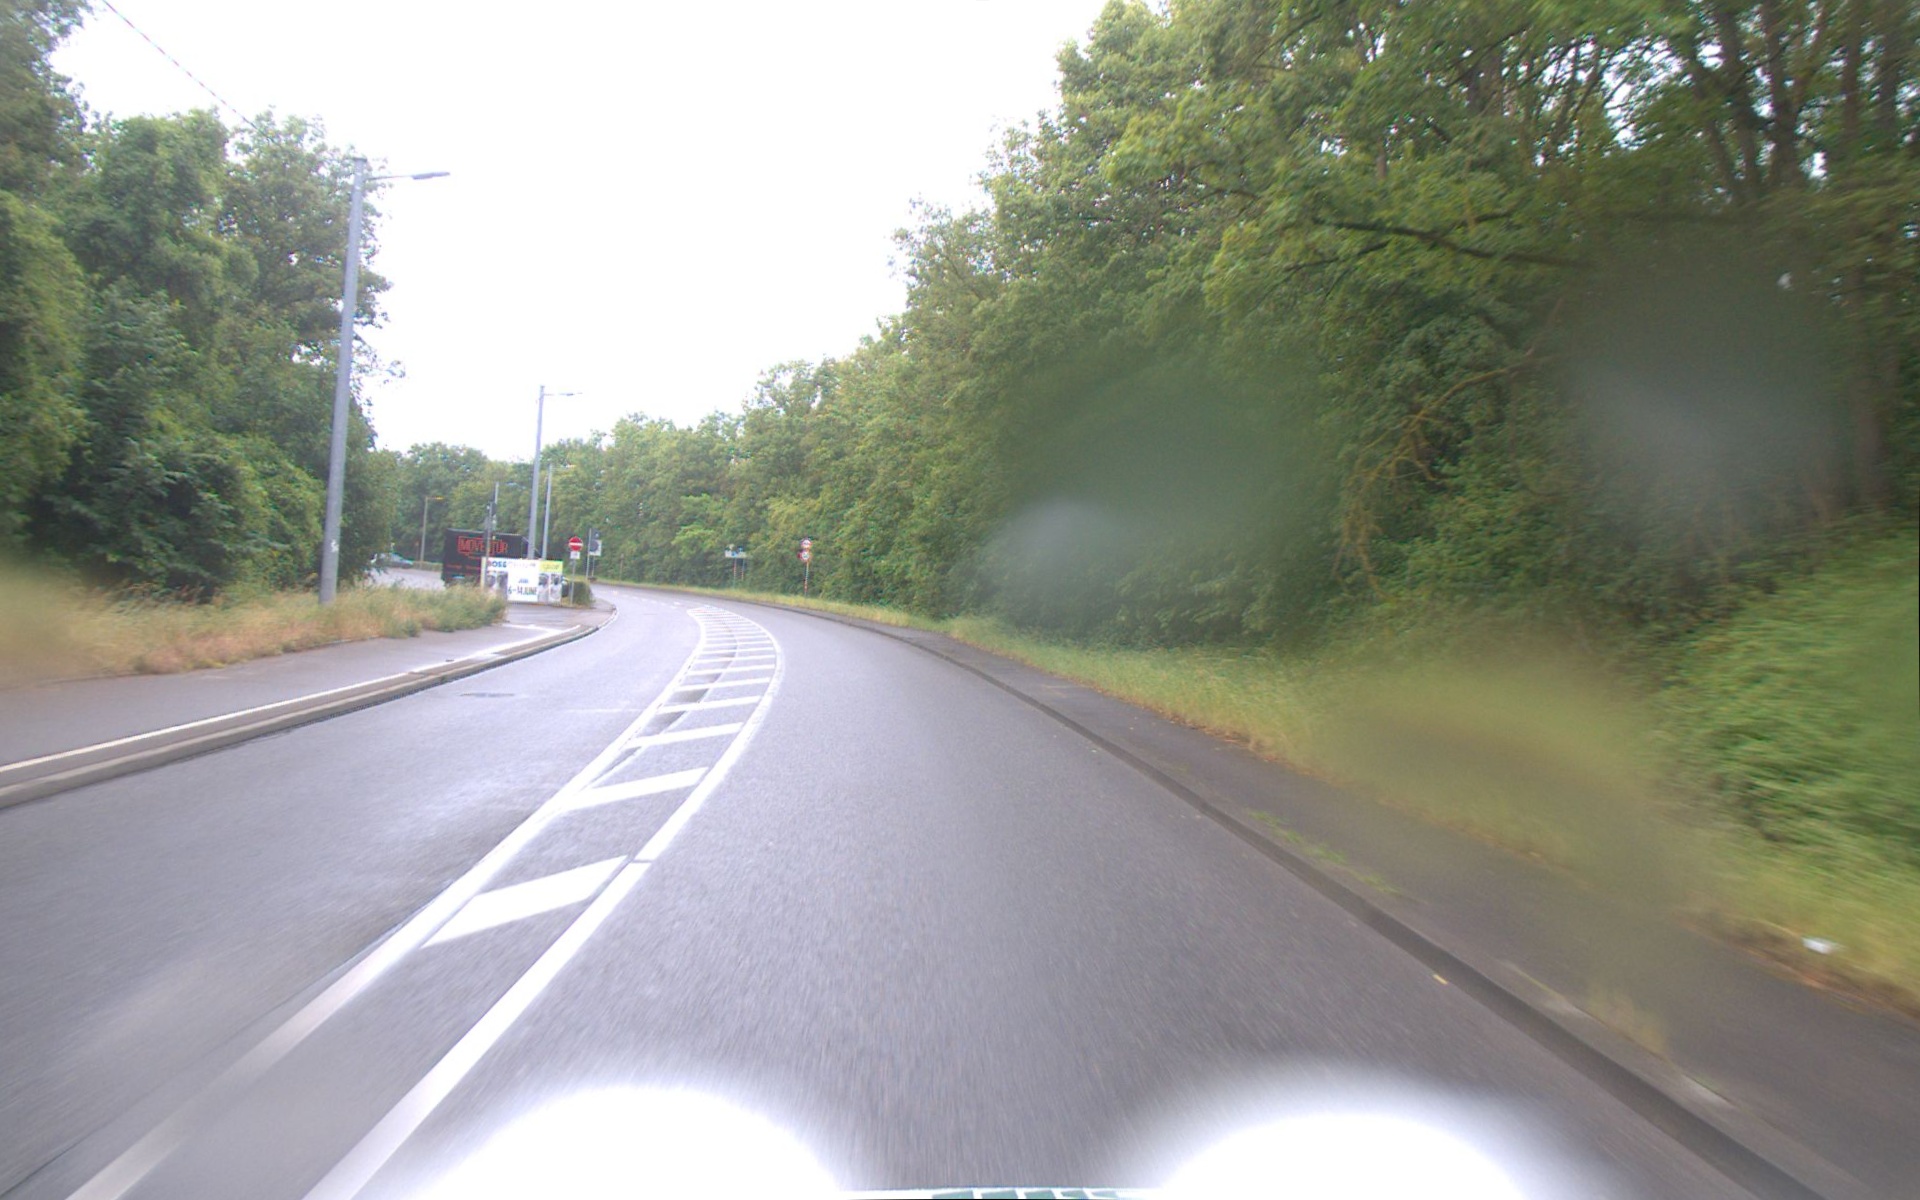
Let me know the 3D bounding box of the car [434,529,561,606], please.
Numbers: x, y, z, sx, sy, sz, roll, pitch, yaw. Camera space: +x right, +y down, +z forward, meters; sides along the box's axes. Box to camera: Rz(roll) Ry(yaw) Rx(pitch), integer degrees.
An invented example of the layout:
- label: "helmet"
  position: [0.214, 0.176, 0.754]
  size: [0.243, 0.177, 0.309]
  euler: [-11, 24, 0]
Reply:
- label: "car"
  position: [-22.659, -1.584, 81.085]
  size: [5.856, 3.563, 1.990]
  euler: [1, 0, -19]
